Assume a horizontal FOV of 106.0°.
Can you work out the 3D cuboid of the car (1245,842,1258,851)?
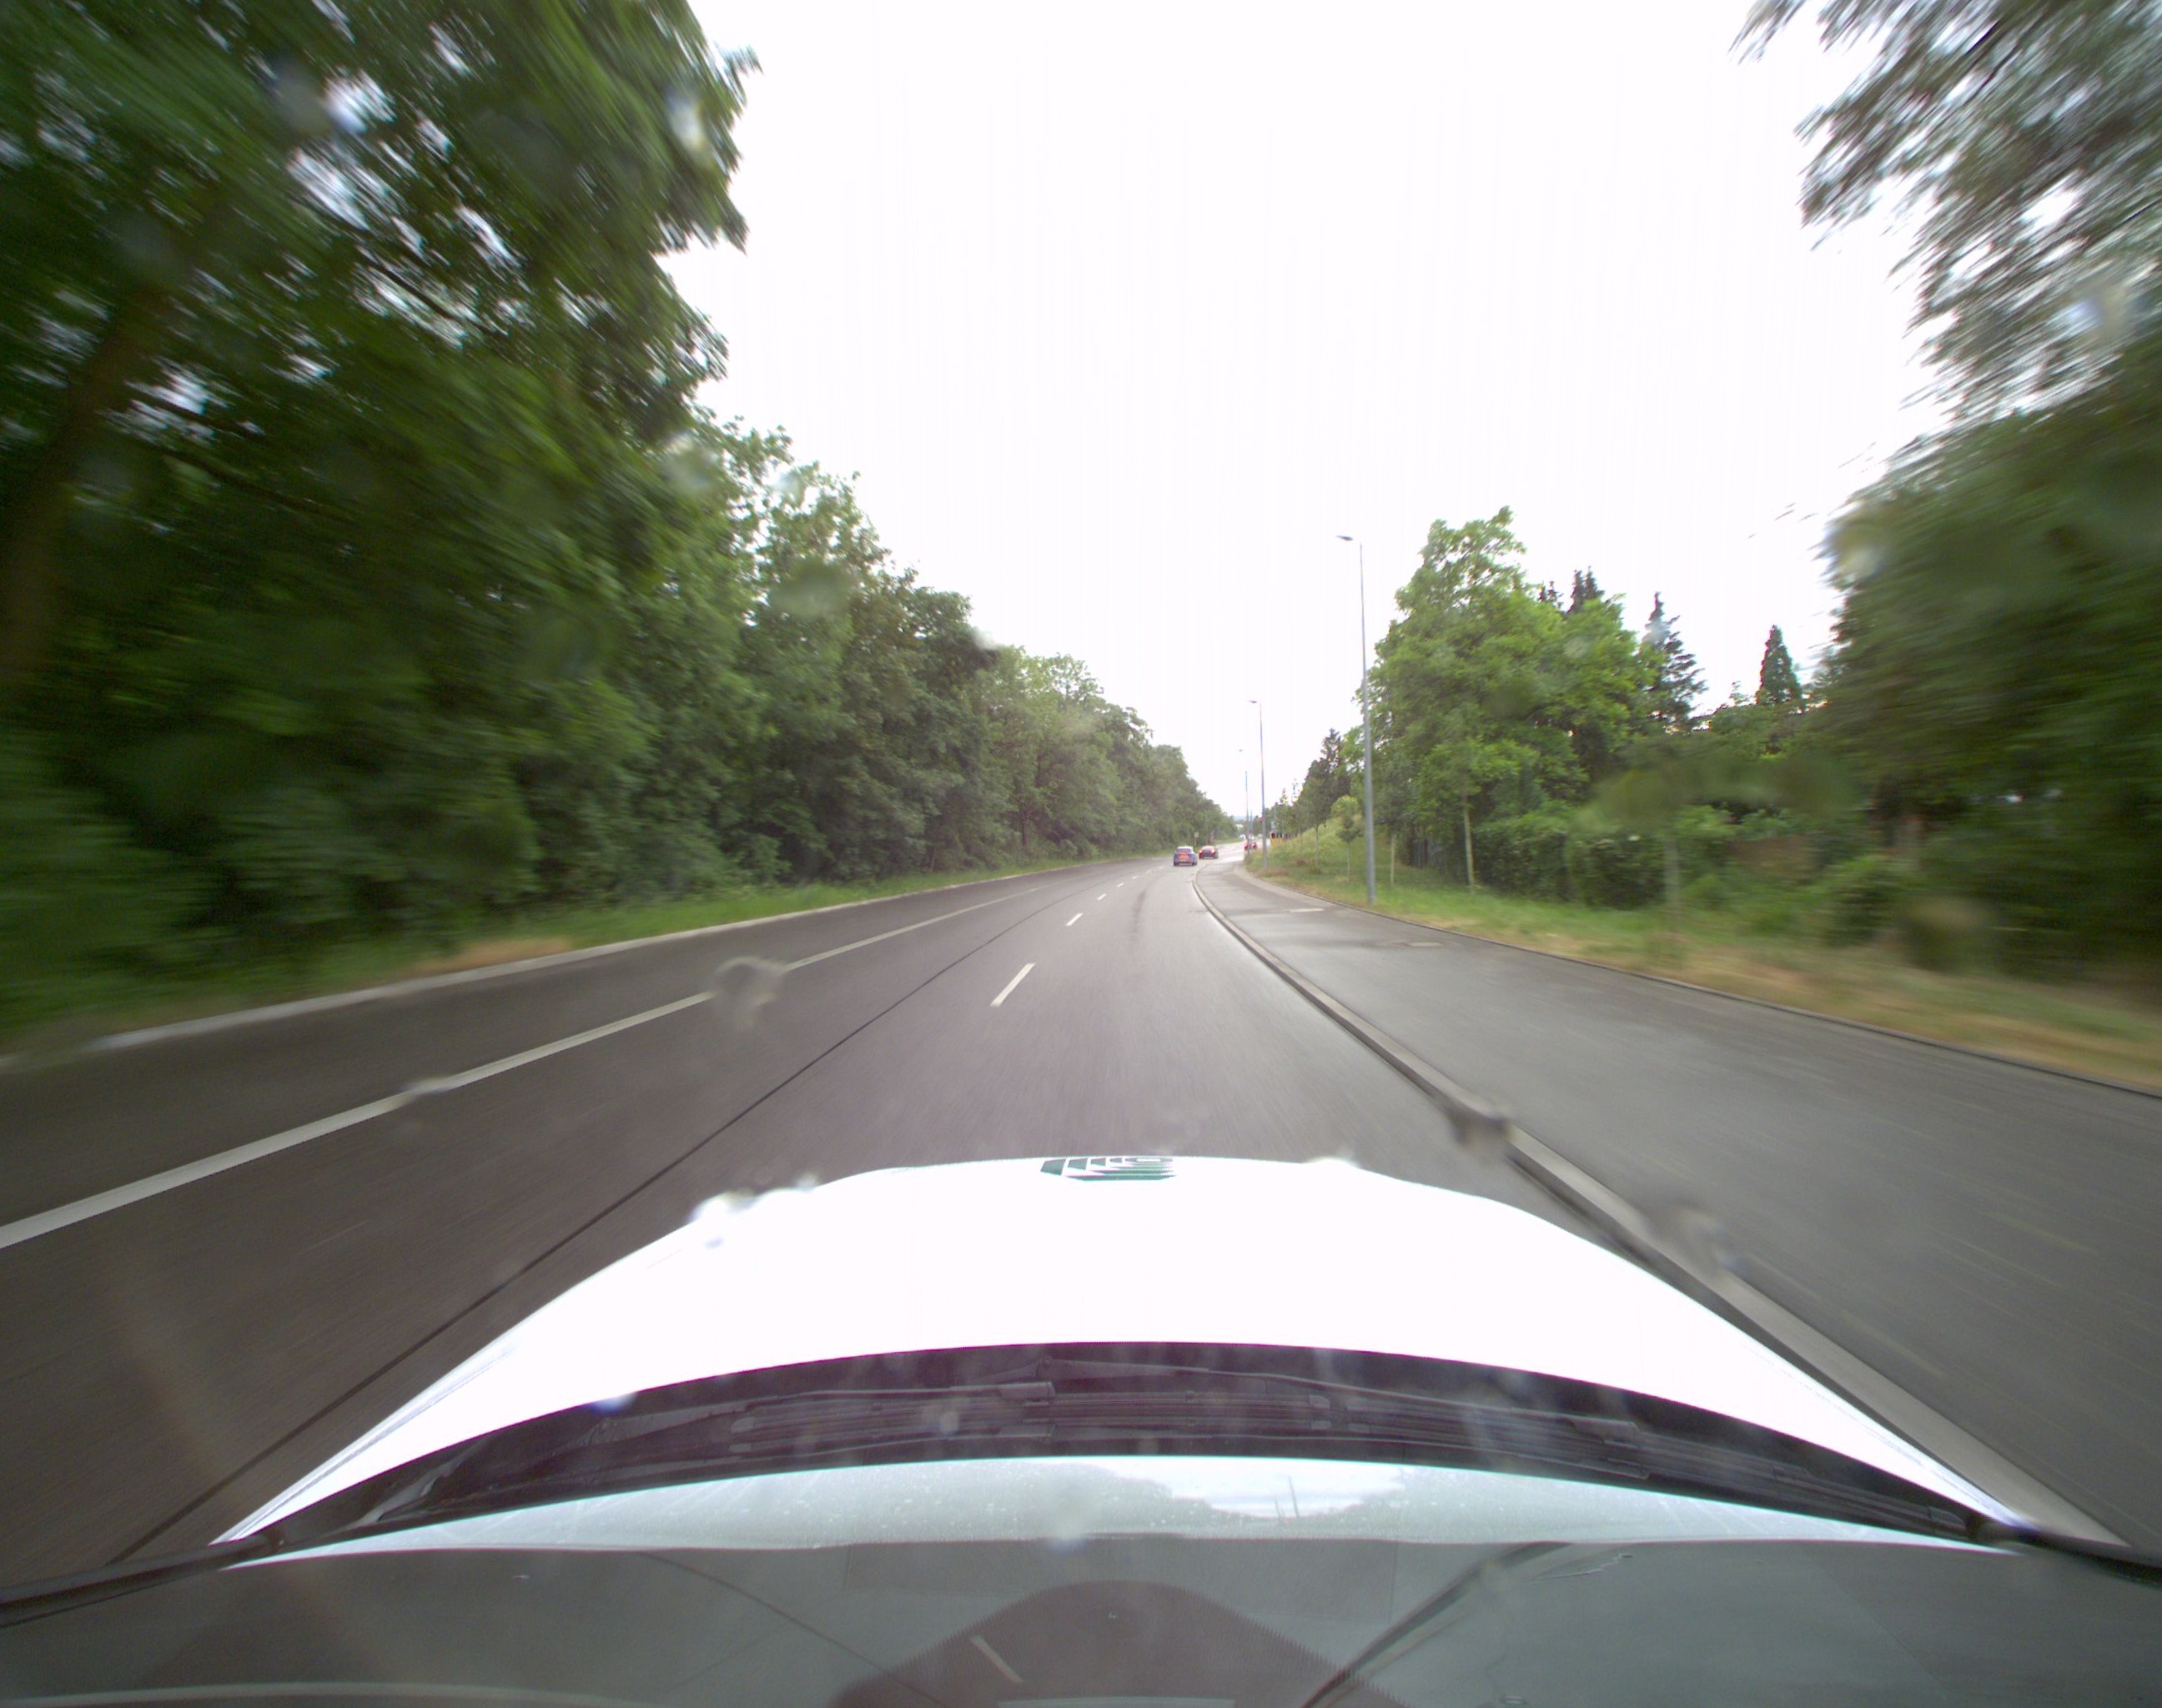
[{"bbox_3d":[28.384,-1.260,135.500,1.978,1.552,4.017,-1,1,16],"label":"car"}]

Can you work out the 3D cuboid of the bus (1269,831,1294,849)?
[{"bbox_3d":[38.289,-2.658,155.144,2.791,3.142,9.234,0,1,26],"label":"bus"}]

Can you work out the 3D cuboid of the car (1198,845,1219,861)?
[{"bbox_3d":[14.069,-0.132,89.655,1.914,1.486,3.813,-2,2,13],"label":"car"}]

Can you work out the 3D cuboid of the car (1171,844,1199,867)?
[{"bbox_3d":[8.677,0.131,67.821,1.980,1.689,4.014,-2,2,11],"label":"car"}]
